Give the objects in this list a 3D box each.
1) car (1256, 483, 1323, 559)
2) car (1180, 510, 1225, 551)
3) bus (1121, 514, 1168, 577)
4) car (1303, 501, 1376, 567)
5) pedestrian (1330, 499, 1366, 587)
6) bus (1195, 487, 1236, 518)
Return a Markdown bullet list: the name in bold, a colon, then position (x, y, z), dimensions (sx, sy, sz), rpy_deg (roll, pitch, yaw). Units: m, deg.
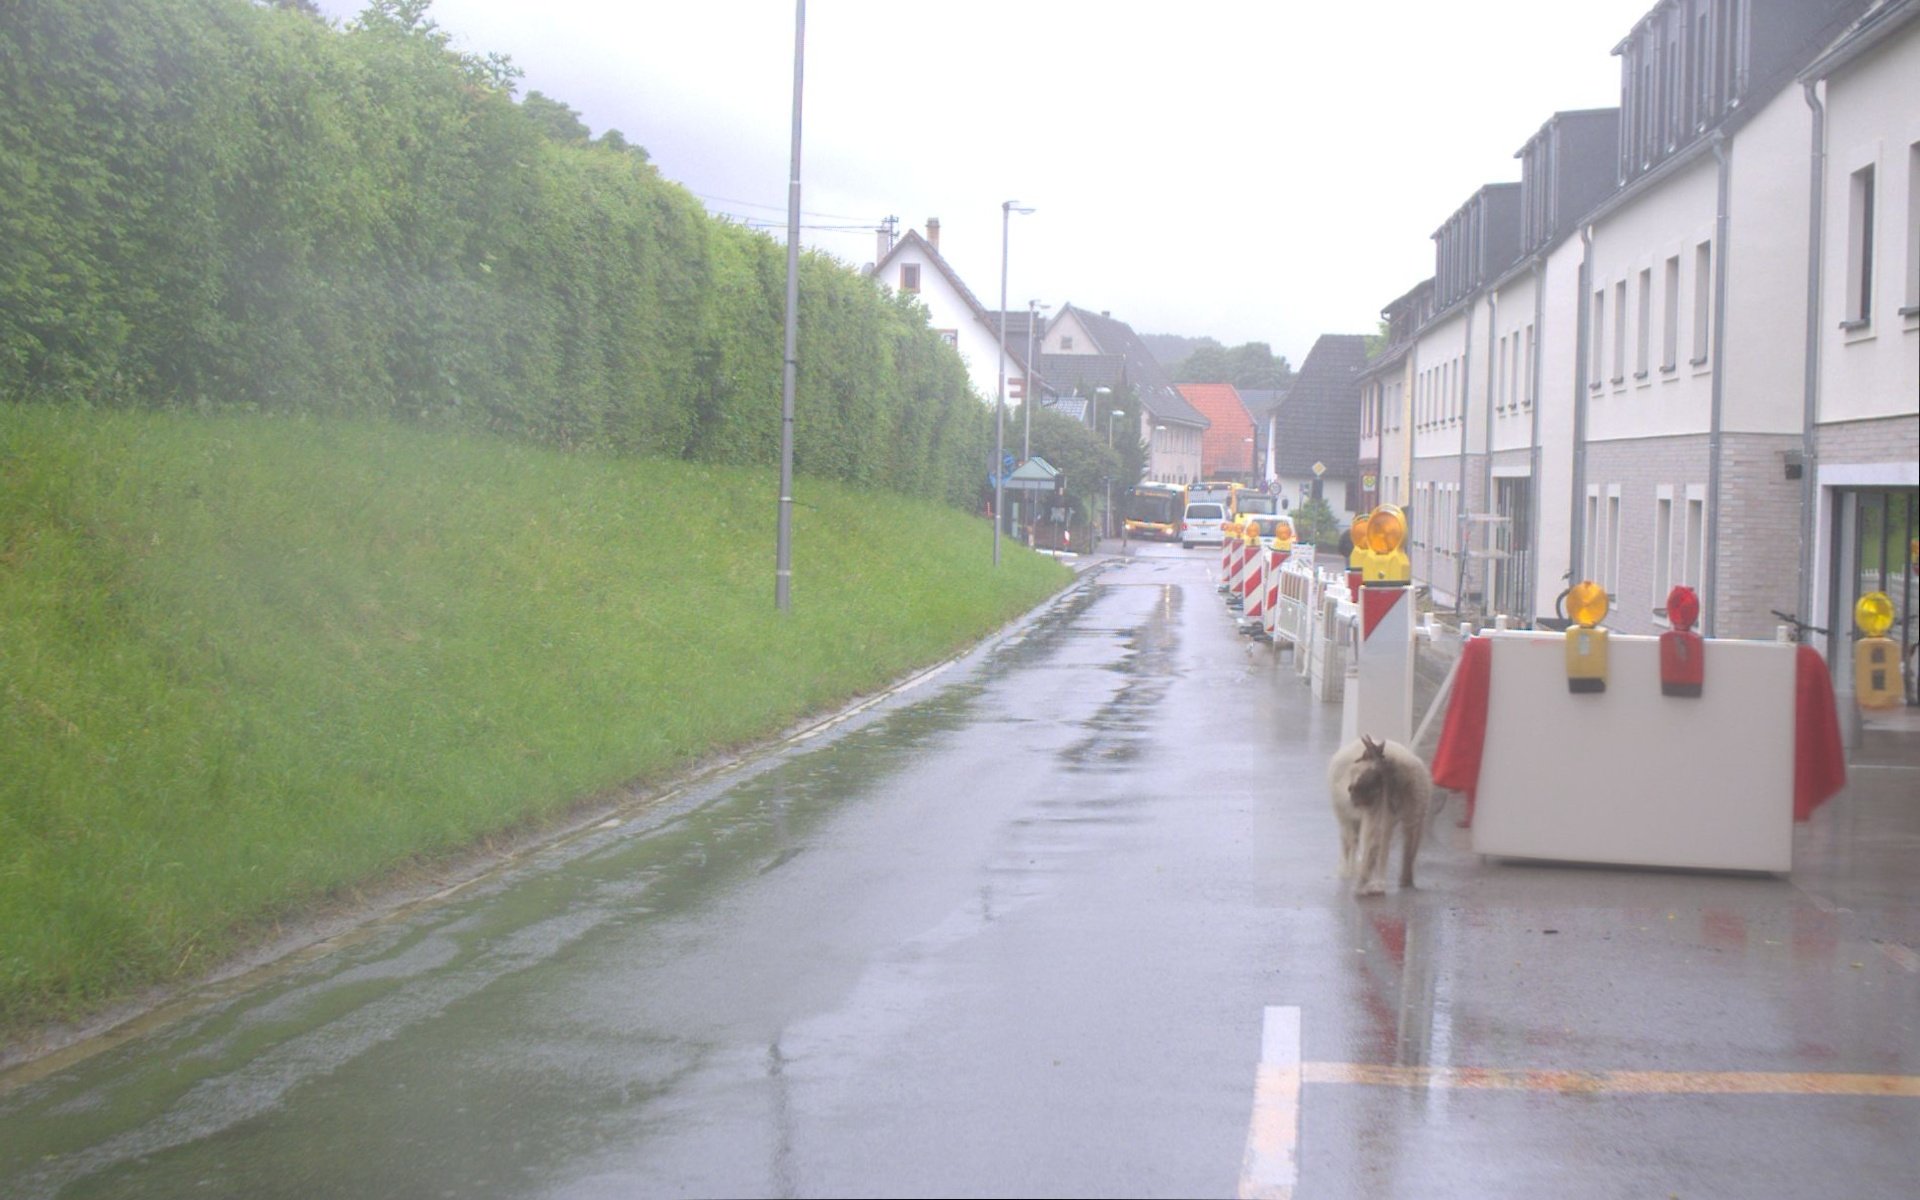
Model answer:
- **car**: position (10.579, -2.545, 110.538), dimensions (1.994, 2.367, 4.095), rpy_deg (-1, 1, 4)
- **car**: position (10.269, -2.959, 145.632), dimensions (1.818, 1.636, 4.095), rpy_deg (-1, 1, 4)
- **bus**: position (9.582, -2.832, 178.091), dimensions (2.242, 3.092, 7.030), rpy_deg (3, 1, 4)
- **car**: position (10.613, -1.874, 96.406), dimensions (1.904, 1.766, 3.887), rpy_deg (-1, 1, 5)
- **pedestrian**: position (7.781, -1.144, 69.025), dimensions (0.665, 1.749, 0.812), rpy_deg (-1, 1, 6)
- **bus**: position (12.614, -4.822, 169.771), dimensions (1.795, 1.405, 3.999), rpy_deg (3, 1, 6)
